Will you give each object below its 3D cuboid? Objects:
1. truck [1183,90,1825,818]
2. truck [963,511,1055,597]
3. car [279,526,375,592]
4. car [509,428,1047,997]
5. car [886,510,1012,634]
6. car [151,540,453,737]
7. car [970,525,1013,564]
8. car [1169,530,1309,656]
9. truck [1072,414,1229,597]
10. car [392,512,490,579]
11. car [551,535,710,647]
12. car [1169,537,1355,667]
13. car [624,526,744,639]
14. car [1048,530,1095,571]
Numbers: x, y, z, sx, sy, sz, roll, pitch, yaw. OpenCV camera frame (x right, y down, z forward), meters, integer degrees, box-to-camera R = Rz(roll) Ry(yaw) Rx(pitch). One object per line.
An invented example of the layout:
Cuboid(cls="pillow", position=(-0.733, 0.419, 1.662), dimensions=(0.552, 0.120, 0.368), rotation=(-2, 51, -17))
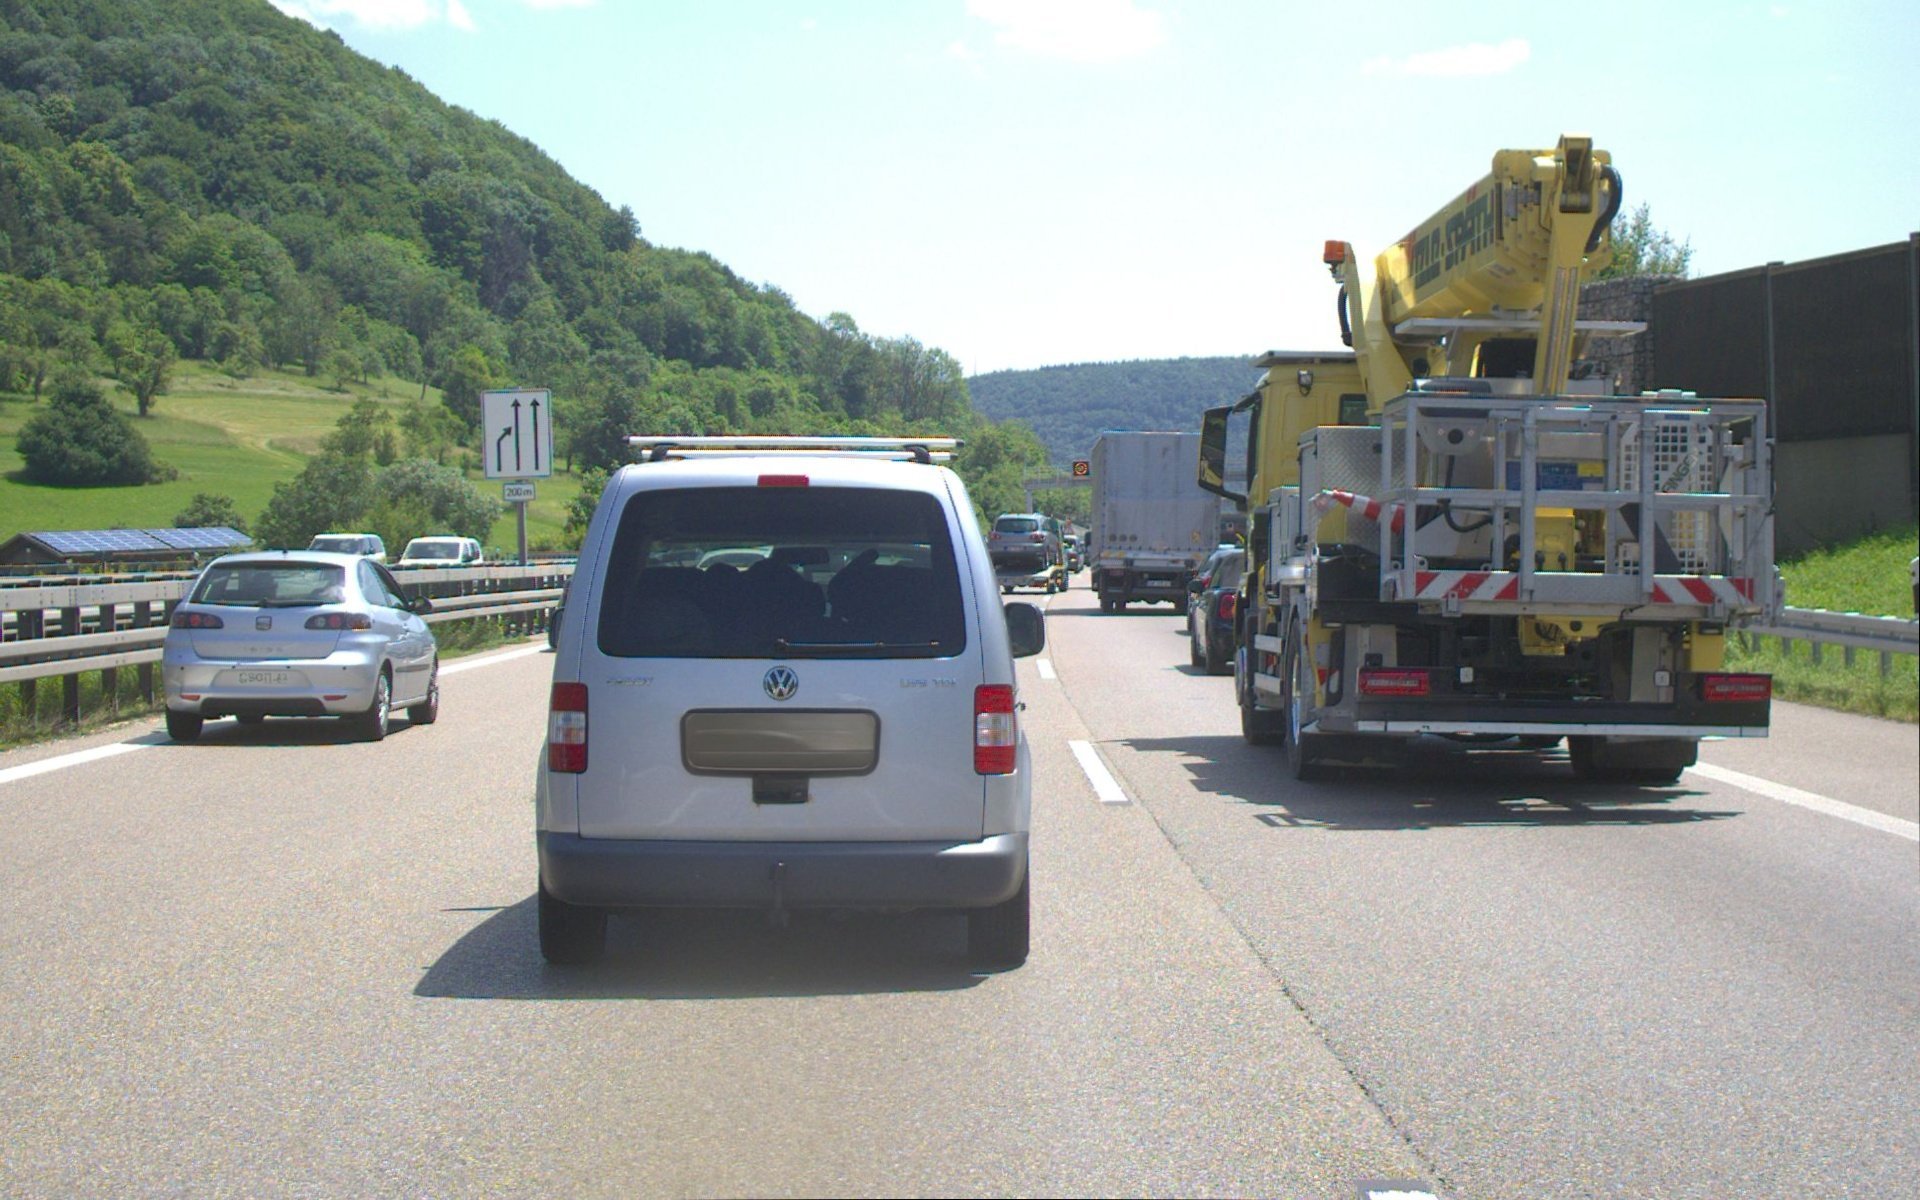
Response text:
Cuboid(cls="truck", position=(3.226, -0.863, 22.952), dimensions=(2.704, 3.929, 8.722), rotation=(0, 1, -1))
Cuboid(cls="truck", position=(1.517, -1.409, 103.911), dimensions=(2.390, 2.532, 5.939), rotation=(0, 1, 4))
Cuboid(cls="car", position=(-19.045, -1.255, 103.588), dimensions=(2.060, 1.935, 4.661), rotation=(0, 1, 0))
Cuboid(cls="car", position=(-0.641, 0.335, 13.268), dimensions=(1.756, 1.861, 4.000), rotation=(0, 1, -1))
Cuboid(cls="car", position=(-0.212, -0.486, 56.662), dimensions=(1.993, 1.969, 4.000), rotation=(0, 1, -1))
Cuboid(cls="car", position=(-5.095, 0.249, 27.070), dimensions=(1.695, 1.440, 3.862), rotation=(0, 1, -1))
Cuboid(cls="car", position=(1.498, -2.662, 164.521), dimensions=(1.993, 1.799, 4.000), rotation=(1, 0, 0))
Cuboid(cls="car", position=(4.560, -0.145, 56.736), dimensions=(1.993, 2.007, 4.000), rotation=(0, 1, 0))
Cuboid(cls="truck", position=(4.131, -2.020, 76.260), dimensions=(2.940, 3.810, 8.237), rotation=(1, 0, 0))
Cuboid(cls="car", position=(-14.475, -1.529, 96.094), dimensions=(1.993, 1.832, 5.227), rotation=(0, 1, 0))
Cuboid(cls="car", position=(-4.599, -0.155, 48.449), dimensions=(1.925, 1.494, 4.000), rotation=(1, 1, -1))
Cuboid(cls="car", position=(3.522, -0.011, 40.657), dimensions=(1.786, 1.453, 3.771), rotation=(0, 1, -1))
Cuboid(cls="car", position=(-5.106, -0.345, 64.030), dimensions=(1.993, 2.007, 4.000), rotation=(-1, 1, -1))
Cuboid(cls="car", position=(5.071, -2.241, 157.101), dimensions=(1.993, 1.799, 4.000), rotation=(1, 0, 0))
